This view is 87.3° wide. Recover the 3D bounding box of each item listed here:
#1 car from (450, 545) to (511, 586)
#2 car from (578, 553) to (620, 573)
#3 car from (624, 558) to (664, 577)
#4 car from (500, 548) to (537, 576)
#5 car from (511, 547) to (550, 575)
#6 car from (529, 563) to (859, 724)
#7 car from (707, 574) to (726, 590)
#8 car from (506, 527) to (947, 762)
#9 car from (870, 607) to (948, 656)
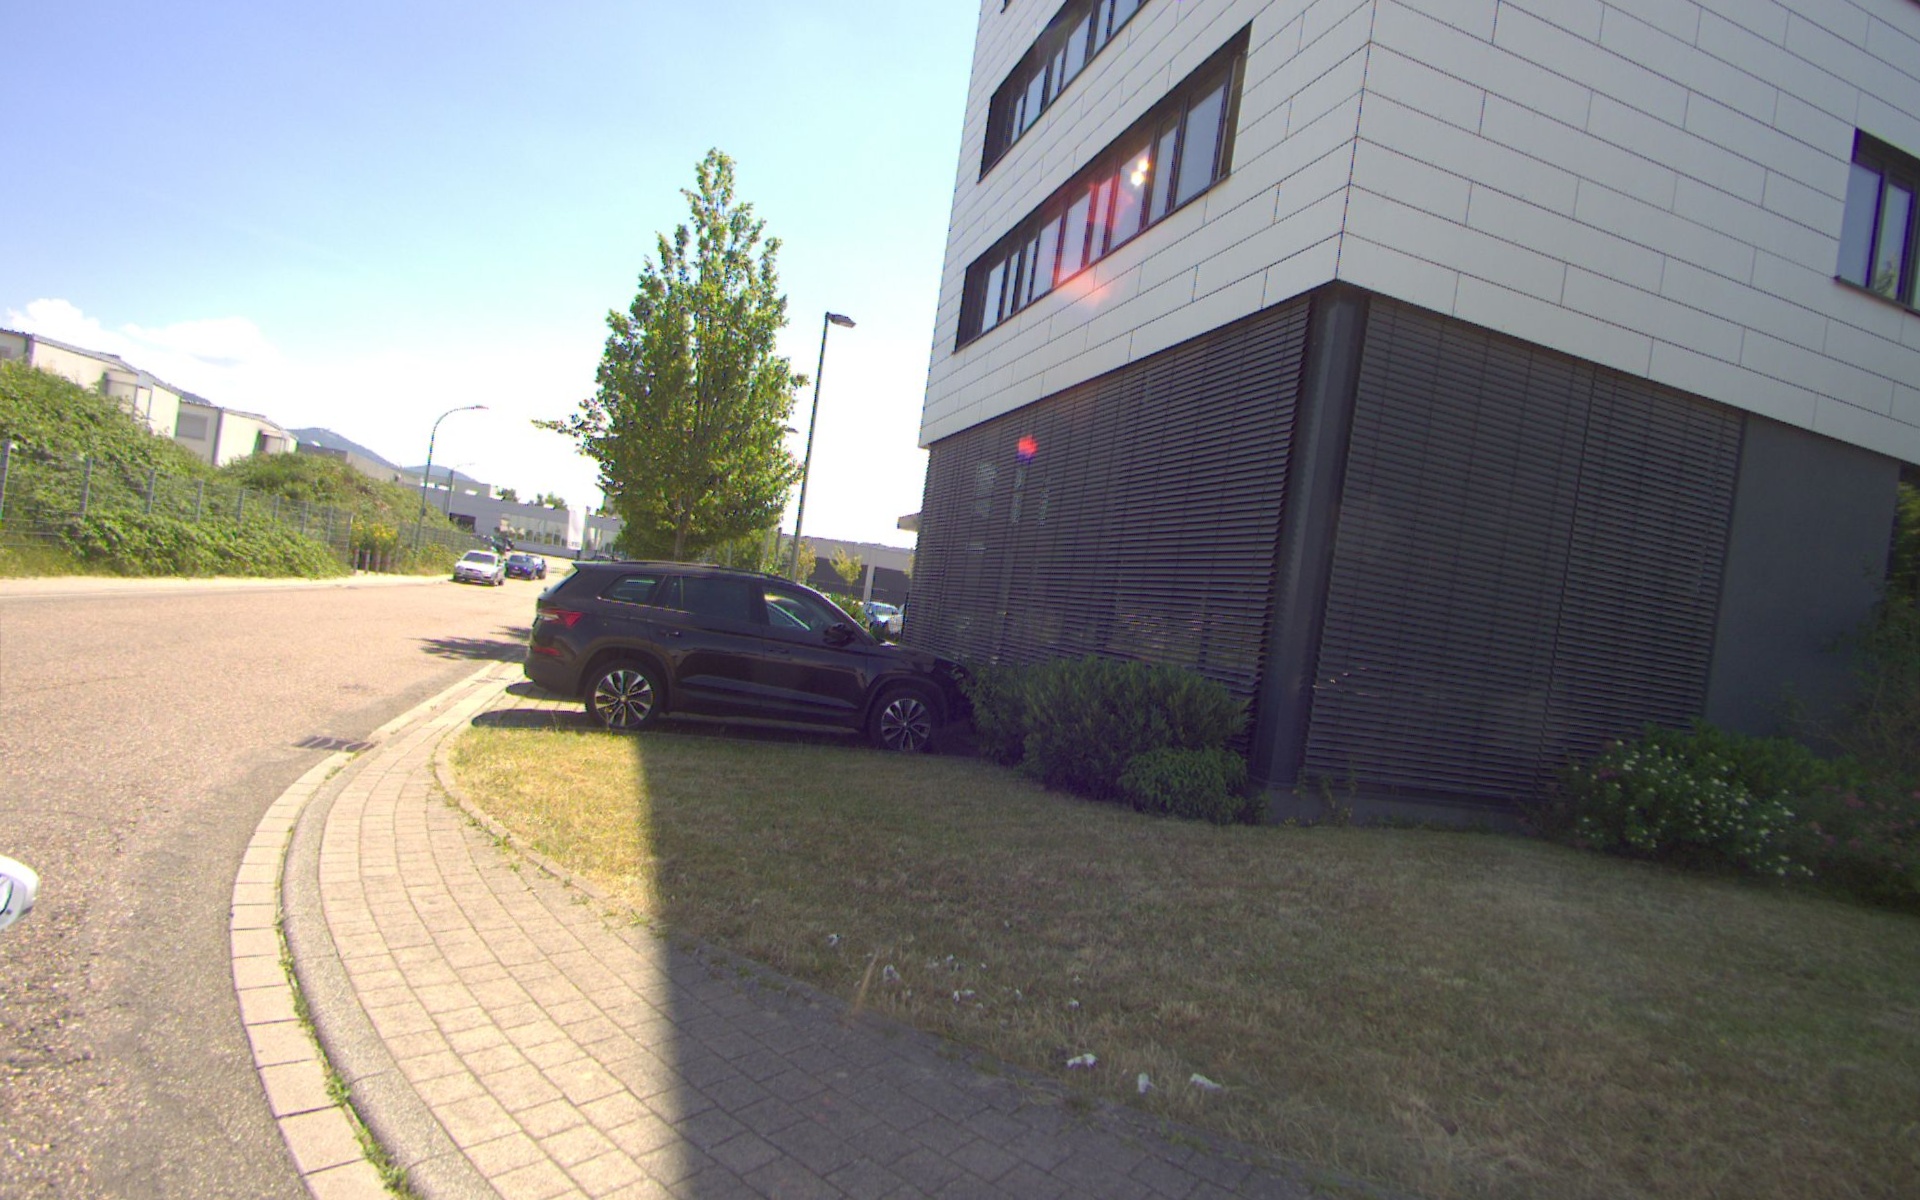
[{"bbox_3d":[-22.350,-1.583,47.027,1.813,1.565,4.350,8,-1,-17],"label":"car"},{"bbox_3d":[-37.339,-3.787,104.085,3.945,1.414,1.992,9,-2,-20],"label":"car"},{"bbox_3d":[-34.654,-3.543,110.177,3.946,1.414,1.992,9,-2,-20],"label":"car"},{"bbox_3d":[-27.497,-2.360,62.802,1.638,1.434,4.127,8,-1,-19],"label":"car"},{"bbox_3d":[-29.015,-2.610,68.057,1.813,1.565,4.248,8,-1,-17],"label":"car"},{"bbox_3d":[-3.362,0.539,12.821,3.672,1.513,1.774,8,0,-20],"label":"car"},{"bbox_3d":[-33.615,-2.459,138.889,1.972,1.847,3.987,9,-2,-18],"label":"car"},{"bbox_3d":[-2.339,0.474,10.462,3.939,1.787,1.719,8,0,-15],"label":"car"},{"bbox_3d":[-2.235,1.290,42.800,1.820,1.672,4.632,9,-2,-20],"label":"car"}]
